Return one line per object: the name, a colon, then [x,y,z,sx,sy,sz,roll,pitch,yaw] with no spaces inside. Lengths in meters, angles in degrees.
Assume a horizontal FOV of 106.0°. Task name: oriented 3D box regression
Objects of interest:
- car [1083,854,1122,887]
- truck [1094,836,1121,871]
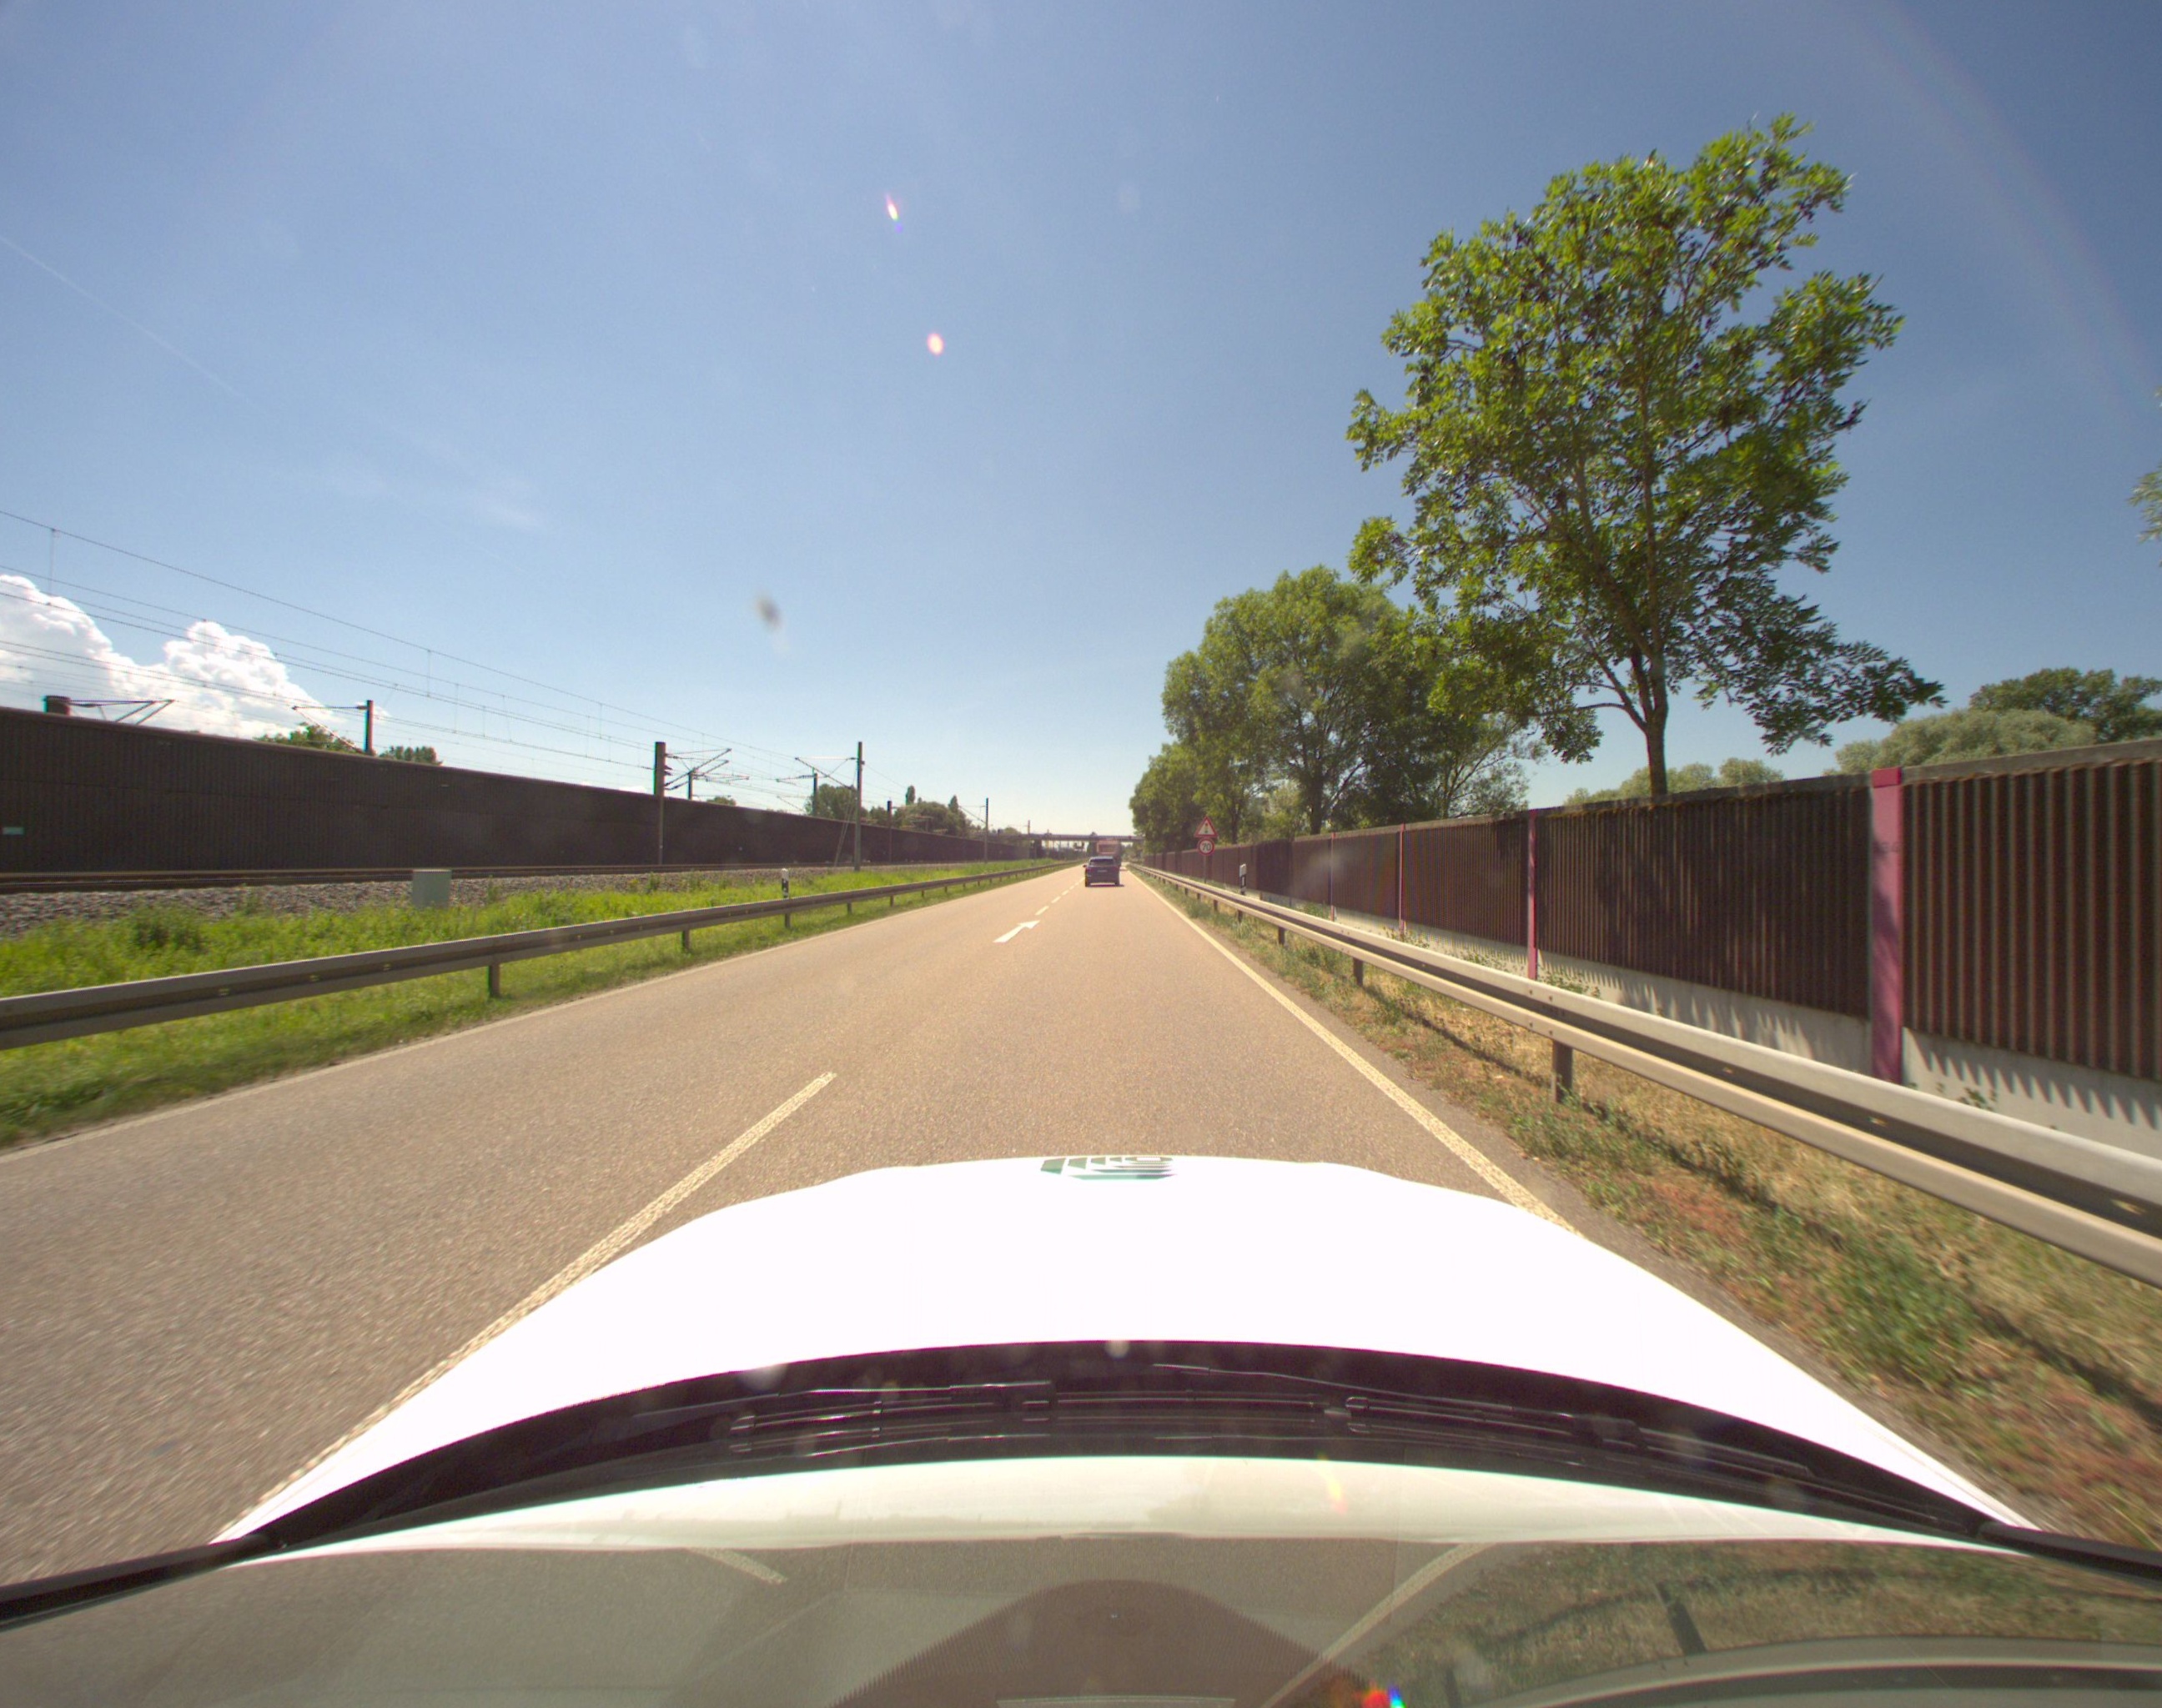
car: [1.204,0.855,43.429,1.836,1.623,4.231,0,0,4]
truck: [3.216,-0.048,96.154,2.821,3.821,11.895,0,0,3]
